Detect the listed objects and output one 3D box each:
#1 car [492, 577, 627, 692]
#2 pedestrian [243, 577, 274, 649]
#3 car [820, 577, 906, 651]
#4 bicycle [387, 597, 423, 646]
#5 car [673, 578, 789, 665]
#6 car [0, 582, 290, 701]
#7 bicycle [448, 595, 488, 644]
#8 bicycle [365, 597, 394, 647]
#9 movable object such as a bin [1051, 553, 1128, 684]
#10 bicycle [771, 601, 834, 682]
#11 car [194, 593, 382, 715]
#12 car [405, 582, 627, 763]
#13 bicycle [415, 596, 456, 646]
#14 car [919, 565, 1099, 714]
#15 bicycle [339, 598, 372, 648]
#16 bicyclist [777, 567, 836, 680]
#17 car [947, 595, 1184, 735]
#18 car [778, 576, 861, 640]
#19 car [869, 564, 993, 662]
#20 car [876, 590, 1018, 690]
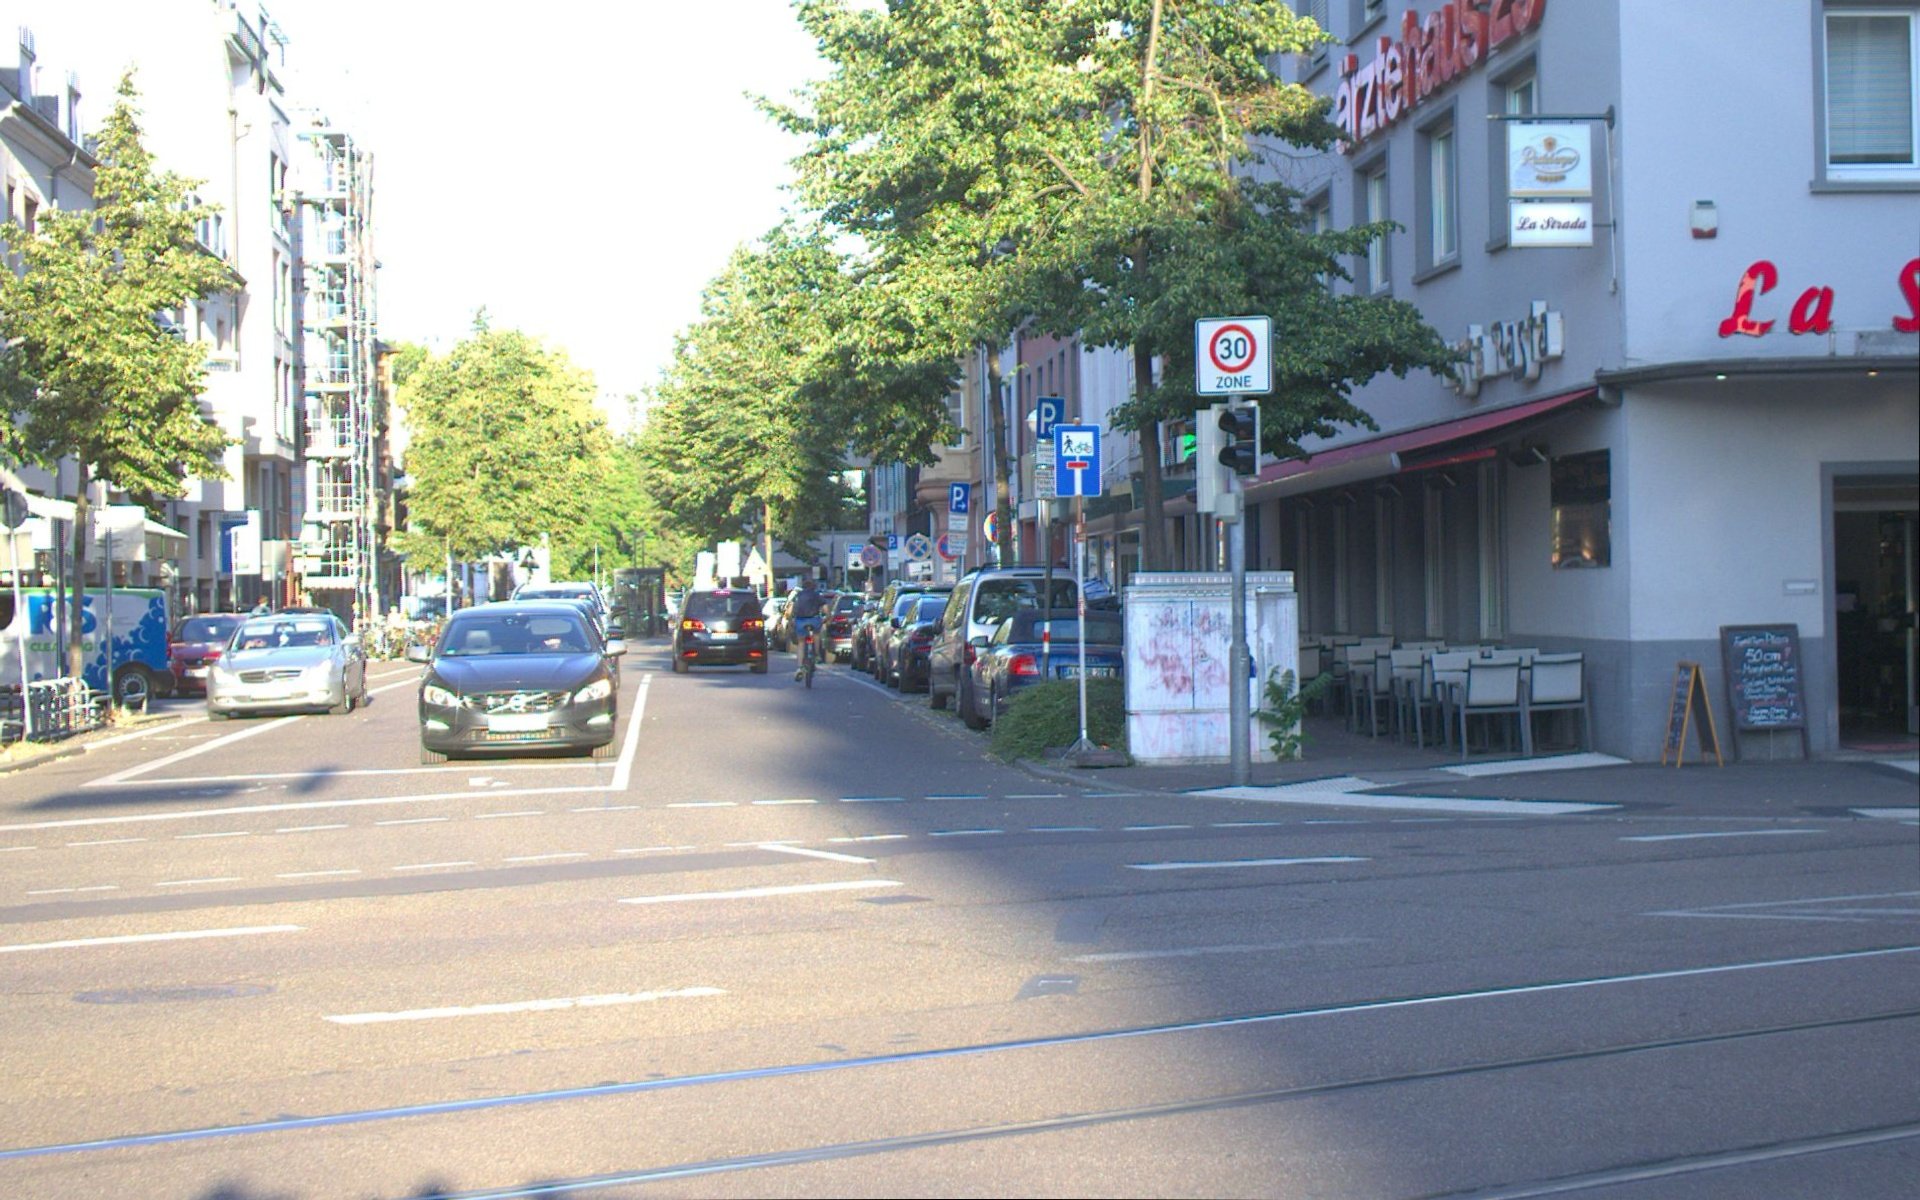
[{"bbox_3d":[-6.211,0.533,53.568,1.940,1.639,4.739,-2,0,-6],"label":"car"},{"bbox_3d":[-17.231,0.320,84.430,0.716,1.761,0.694,1,-1,-12],"label":"pedestrian"},{"bbox_3d":[-2.271,0.329,79.564,1.811,1.662,4.206,0,-1,-4],"label":"car"},{"bbox_3d":[-15.590,0.604,96.515,0.780,1.368,3.143,1,-1,-13],"label":"bicycle"},{"bbox_3d":[-4.392,0.420,66.511,1.993,1.596,4.509,0,-1,-1],"label":"car"},{"bbox_3d":[-13.265,0.663,54.348,4.864,1.821,2.000,1,-1,-28],"label":"car"},{"bbox_3d":[-13.879,0.559,96.920,0.844,1.346,3.188,-1,0,-13],"label":"bicycle"},{"bbox_3d":[-16.271,0.613,96.343,0.584,1.391,3.162,1,-1,-13],"label":"bicycle"},{"bbox_3d":[1.759,0.253,46.880,0.834,1.768,1.206,0,-1,-8],"label":"movable object such as a bin"},{"bbox_3d":[-2.425,0.629,52.838,0.780,1.200,2.021,-2,0,-7],"label":"bicycle"},{"bbox_3d":[-9.297,0.731,47.877,1.993,1.506,4.510,-3,0,-5],"label":"car"},{"bbox_3d":[-4.263,0.640,33.223,1.957,1.542,4.510,-1,1,-7],"label":"car"},{"bbox_3d":[-14.755,0.595,96.717,0.892,1.391,3.167,0,0,-13],"label":"bicycle"},{"bbox_3d":[0.559,0.452,42.893,1.654,1.772,4.012,0,1,-8],"label":"car"},{"bbox_3d":[-16.930,0.649,96.185,0.721,1.391,3.154,1,-1,-13],"label":"bicycle"},{"bbox_3d":[-2.363,0.355,52.750,0.780,1.690,1.007,-2,0,-7],"label":"bicyclist"},{"bbox_3d":[1.051,0.648,36.489,1.936,1.372,4.183,1,0,-6],"label":"car"},{"bbox_3d":[-3.810,0.233,92.759,1.824,1.689,4.369,0,-1,-8],"label":"car"},{"bbox_3d":[-0.585,0.255,64.485,1.883,1.748,5.059,0,-1,-6],"label":"car"},{"bbox_3d":[-0.243,0.576,52.265,1.752,1.415,4.510,0,0,-5],"label":"car"}]
